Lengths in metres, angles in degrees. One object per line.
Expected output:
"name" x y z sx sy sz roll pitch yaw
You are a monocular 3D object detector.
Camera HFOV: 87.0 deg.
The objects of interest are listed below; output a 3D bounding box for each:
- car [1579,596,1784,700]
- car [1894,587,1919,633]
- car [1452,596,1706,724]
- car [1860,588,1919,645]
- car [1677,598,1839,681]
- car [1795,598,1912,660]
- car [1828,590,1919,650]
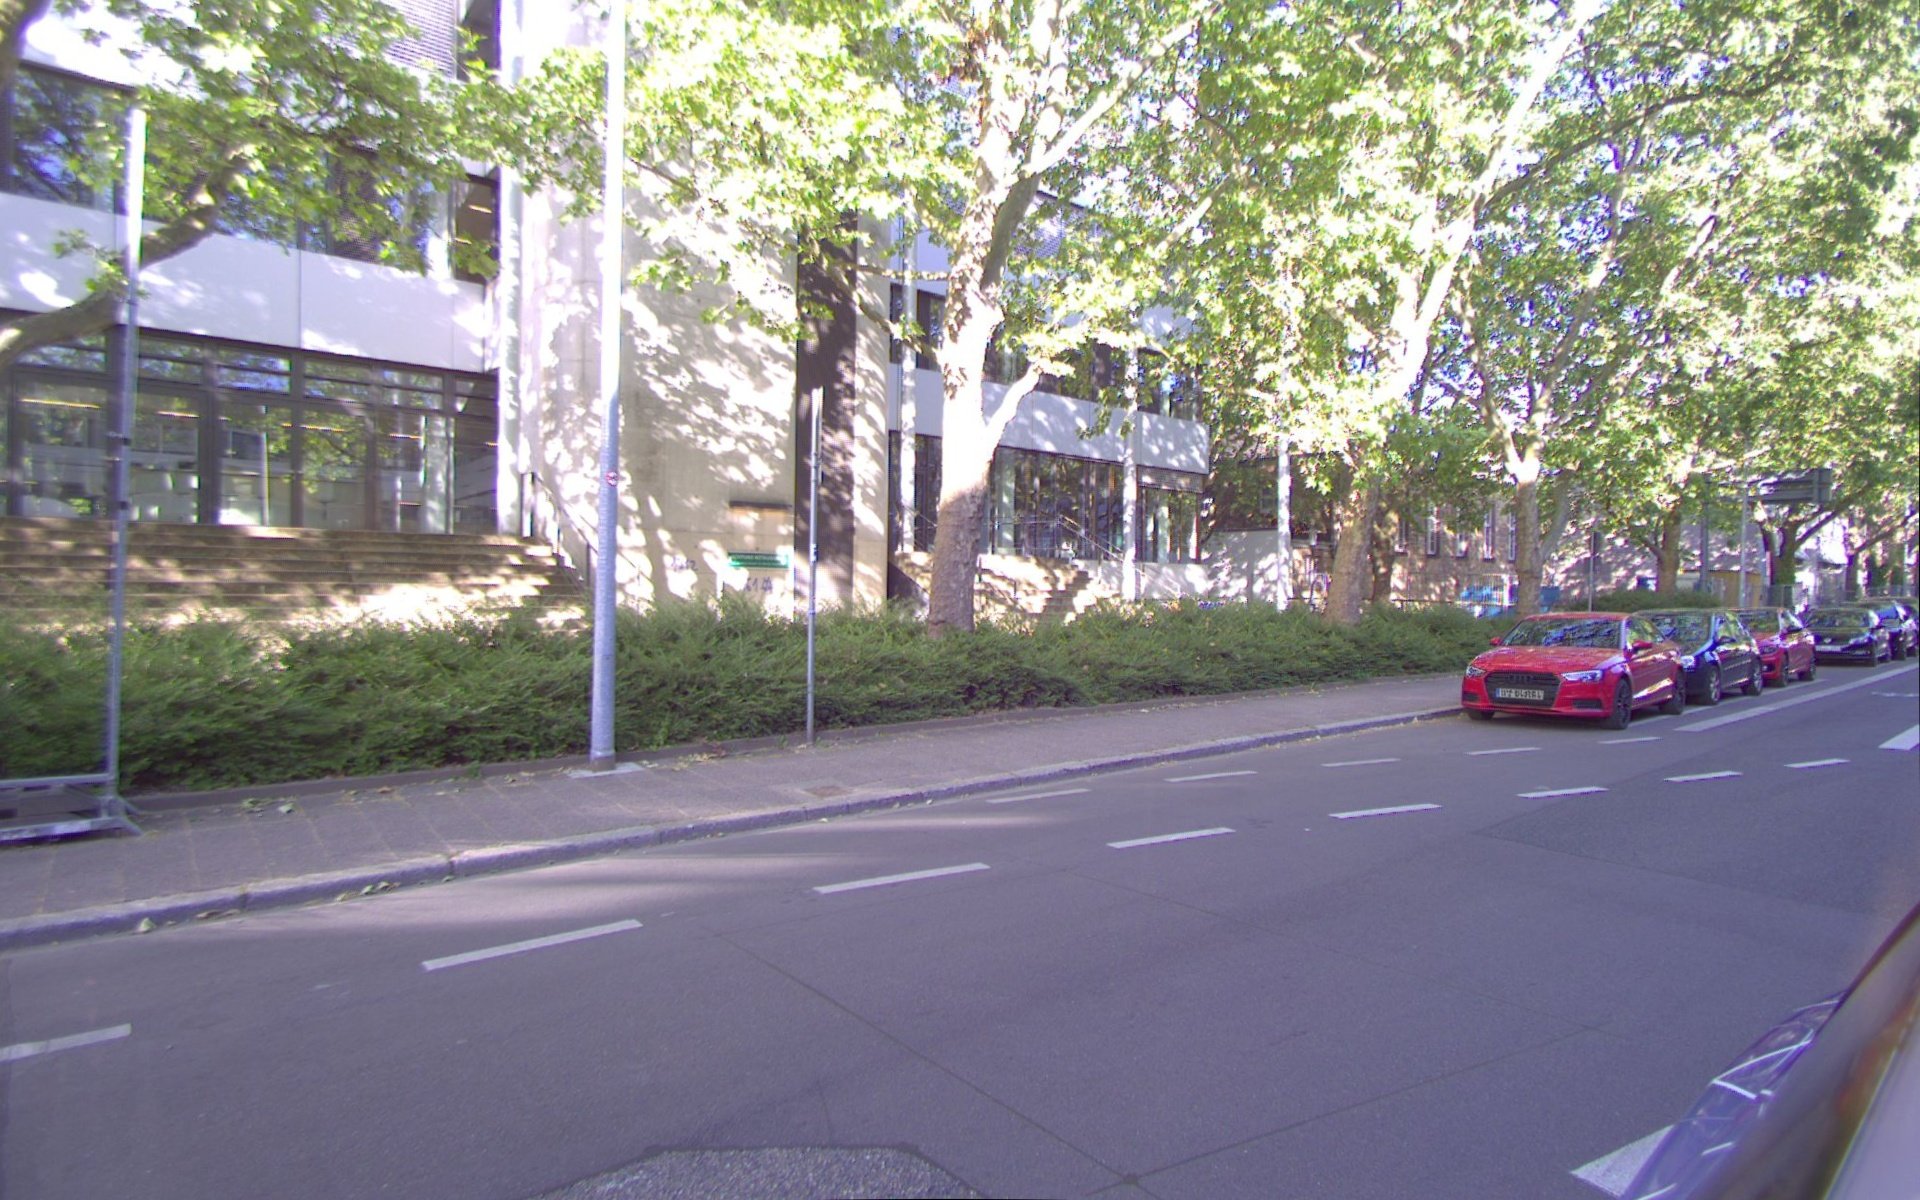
"car" 11.895 0.684 16.601 3.929 1.475 1.812 0 1 -40
"car" 35.743 0.370 37.078 4.004 1.638 1.797 0 1 -41
"car" 8.320 0.685 13.460 4.101 1.443 1.773 0 -1 -42
"car" 31.084 0.489 33.057 4.188 1.747 1.997 -1 0 -41
"car" 15.774 0.700 19.942 3.930 1.456 1.789 0 1 -41
"car" 22.985 0.687 25.999 3.930 1.456 1.744 0 1 -41
"car" 26.649 0.531 29.197 4.158 1.601 1.847 0 1 -41
